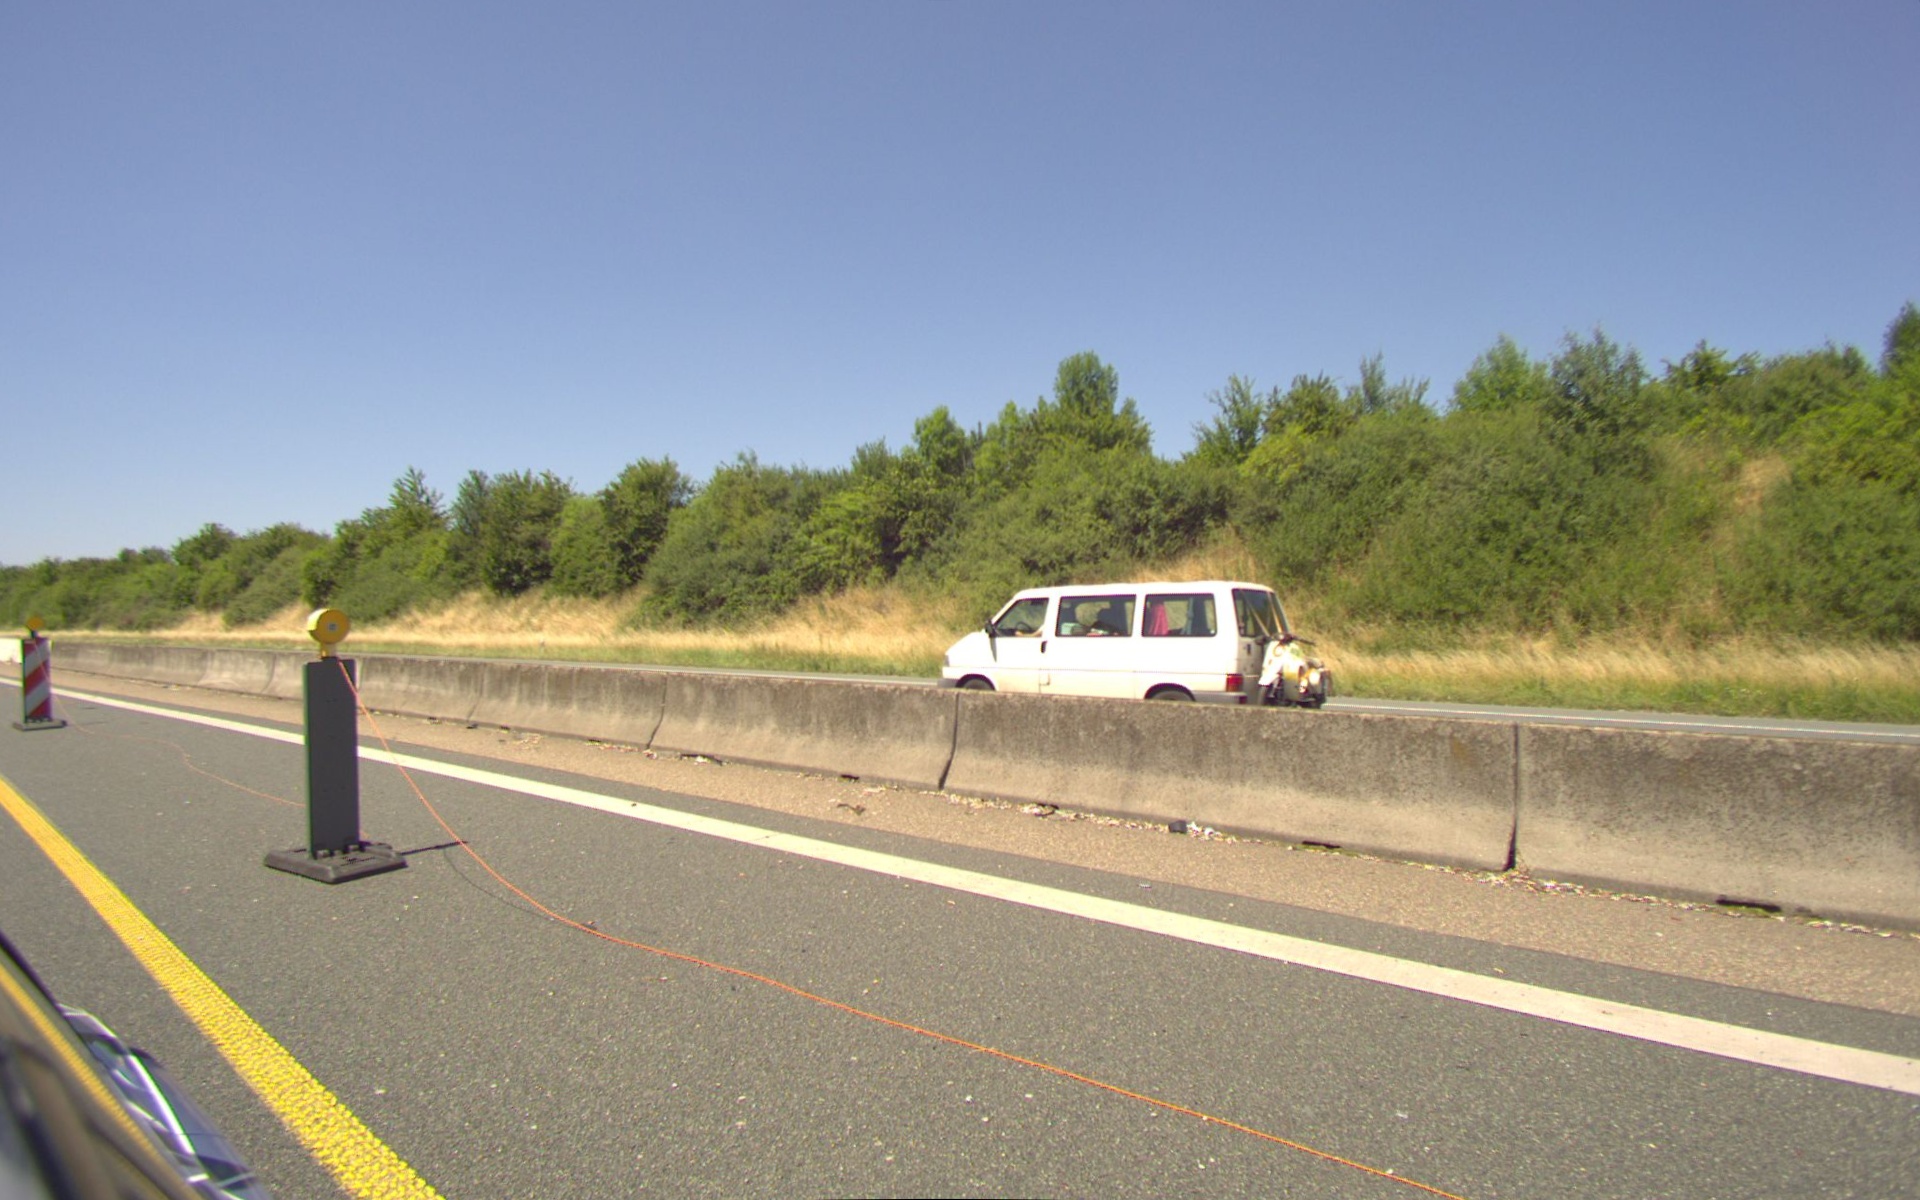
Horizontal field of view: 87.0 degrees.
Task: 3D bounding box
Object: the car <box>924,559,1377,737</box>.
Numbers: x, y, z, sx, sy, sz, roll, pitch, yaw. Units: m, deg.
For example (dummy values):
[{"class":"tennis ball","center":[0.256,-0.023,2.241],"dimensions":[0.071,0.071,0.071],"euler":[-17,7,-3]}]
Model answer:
[{"class":"car","center":[2.163,0.554,12.804],"dimensions":[5.451,1.806,1.847],"euler":[-1,-2,41]}]
